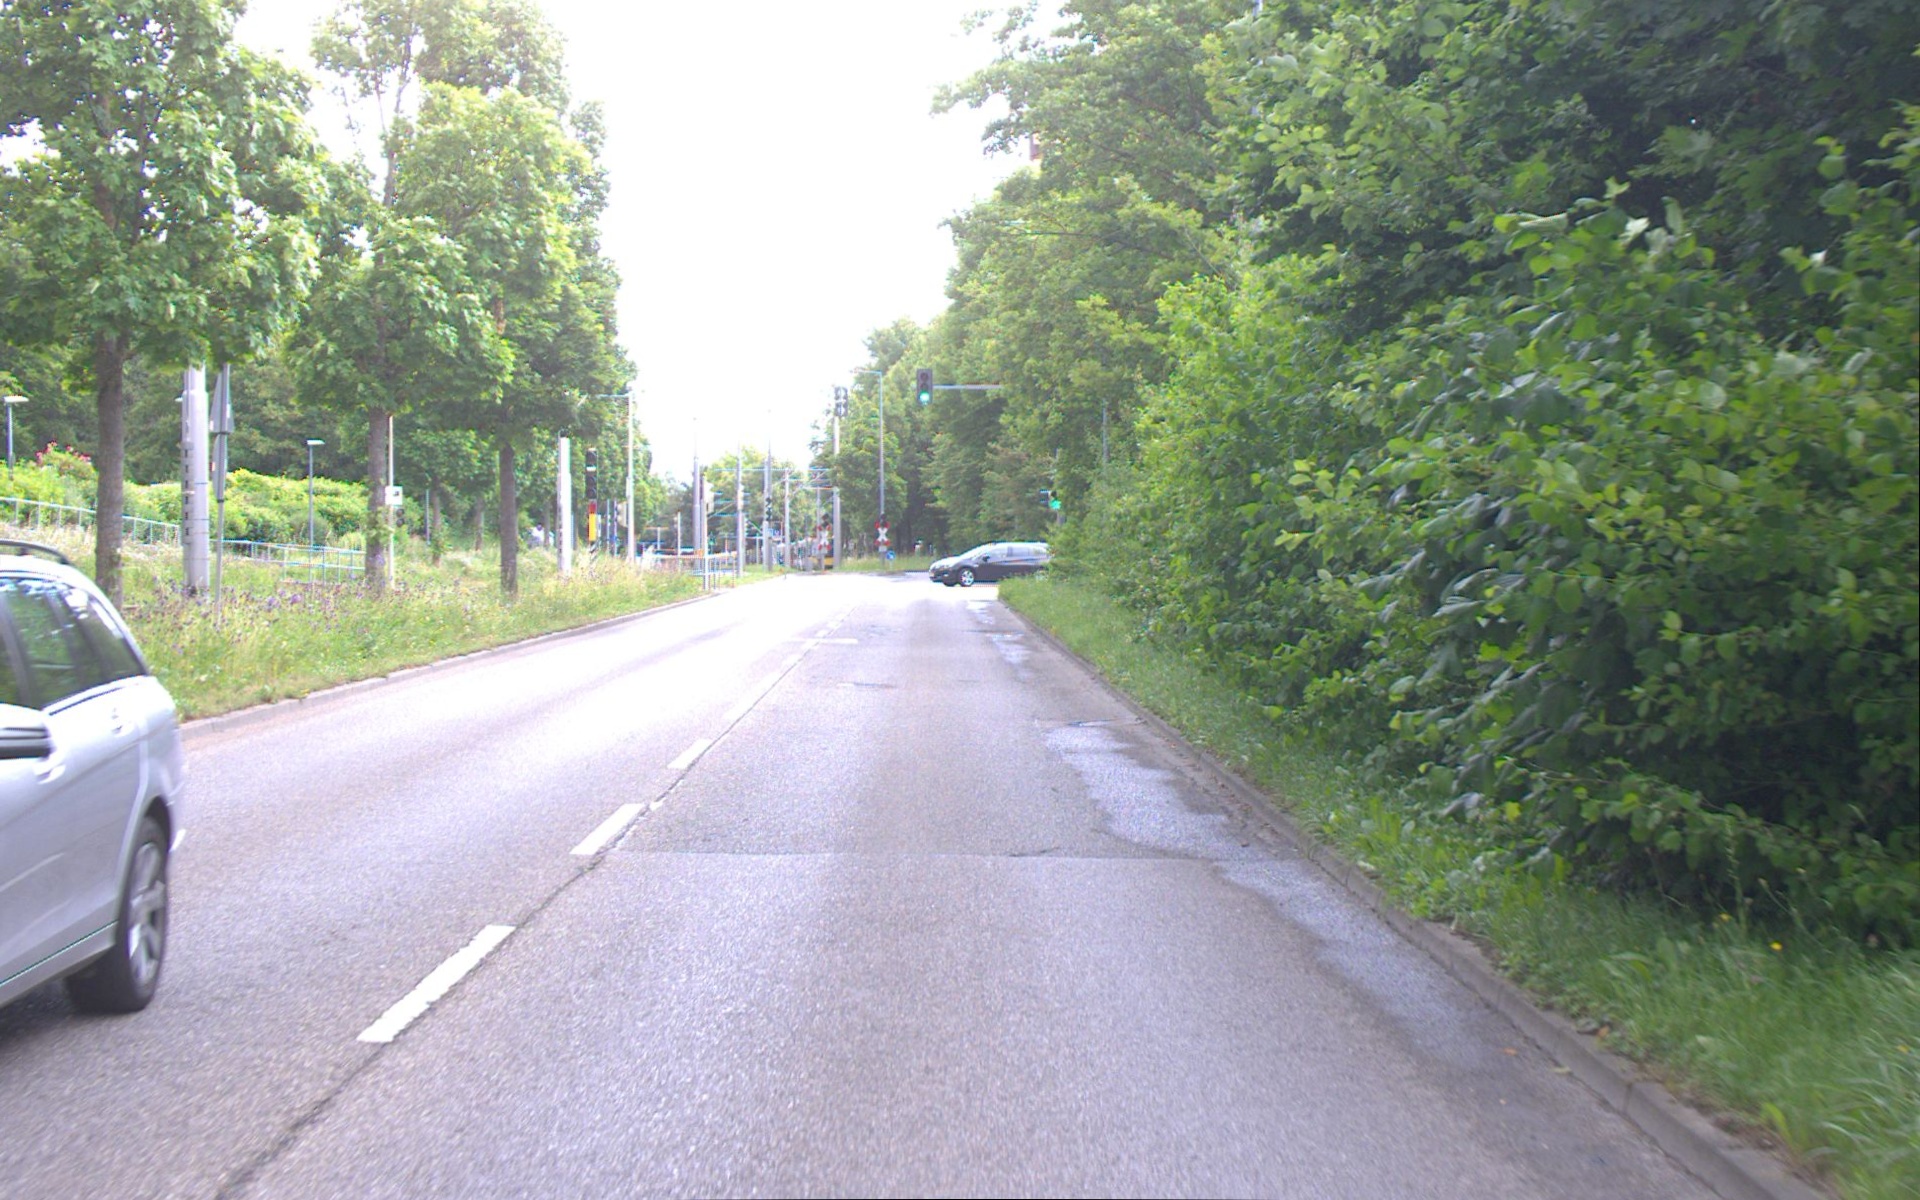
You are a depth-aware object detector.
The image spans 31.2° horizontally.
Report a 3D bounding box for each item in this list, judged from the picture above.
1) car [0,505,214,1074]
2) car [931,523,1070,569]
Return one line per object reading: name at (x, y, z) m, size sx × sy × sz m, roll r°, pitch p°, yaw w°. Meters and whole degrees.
car at (-3.366, 0.472, 9.280) m, size 1.774 × 1.464 × 4.242 m, roll 1°, pitch 2°, yaw 0°
car at (1.346, -1.815, 115.143) m, size 4.240 × 1.465 × 1.857 m, roll 1°, pitch 2°, yaw -20°
